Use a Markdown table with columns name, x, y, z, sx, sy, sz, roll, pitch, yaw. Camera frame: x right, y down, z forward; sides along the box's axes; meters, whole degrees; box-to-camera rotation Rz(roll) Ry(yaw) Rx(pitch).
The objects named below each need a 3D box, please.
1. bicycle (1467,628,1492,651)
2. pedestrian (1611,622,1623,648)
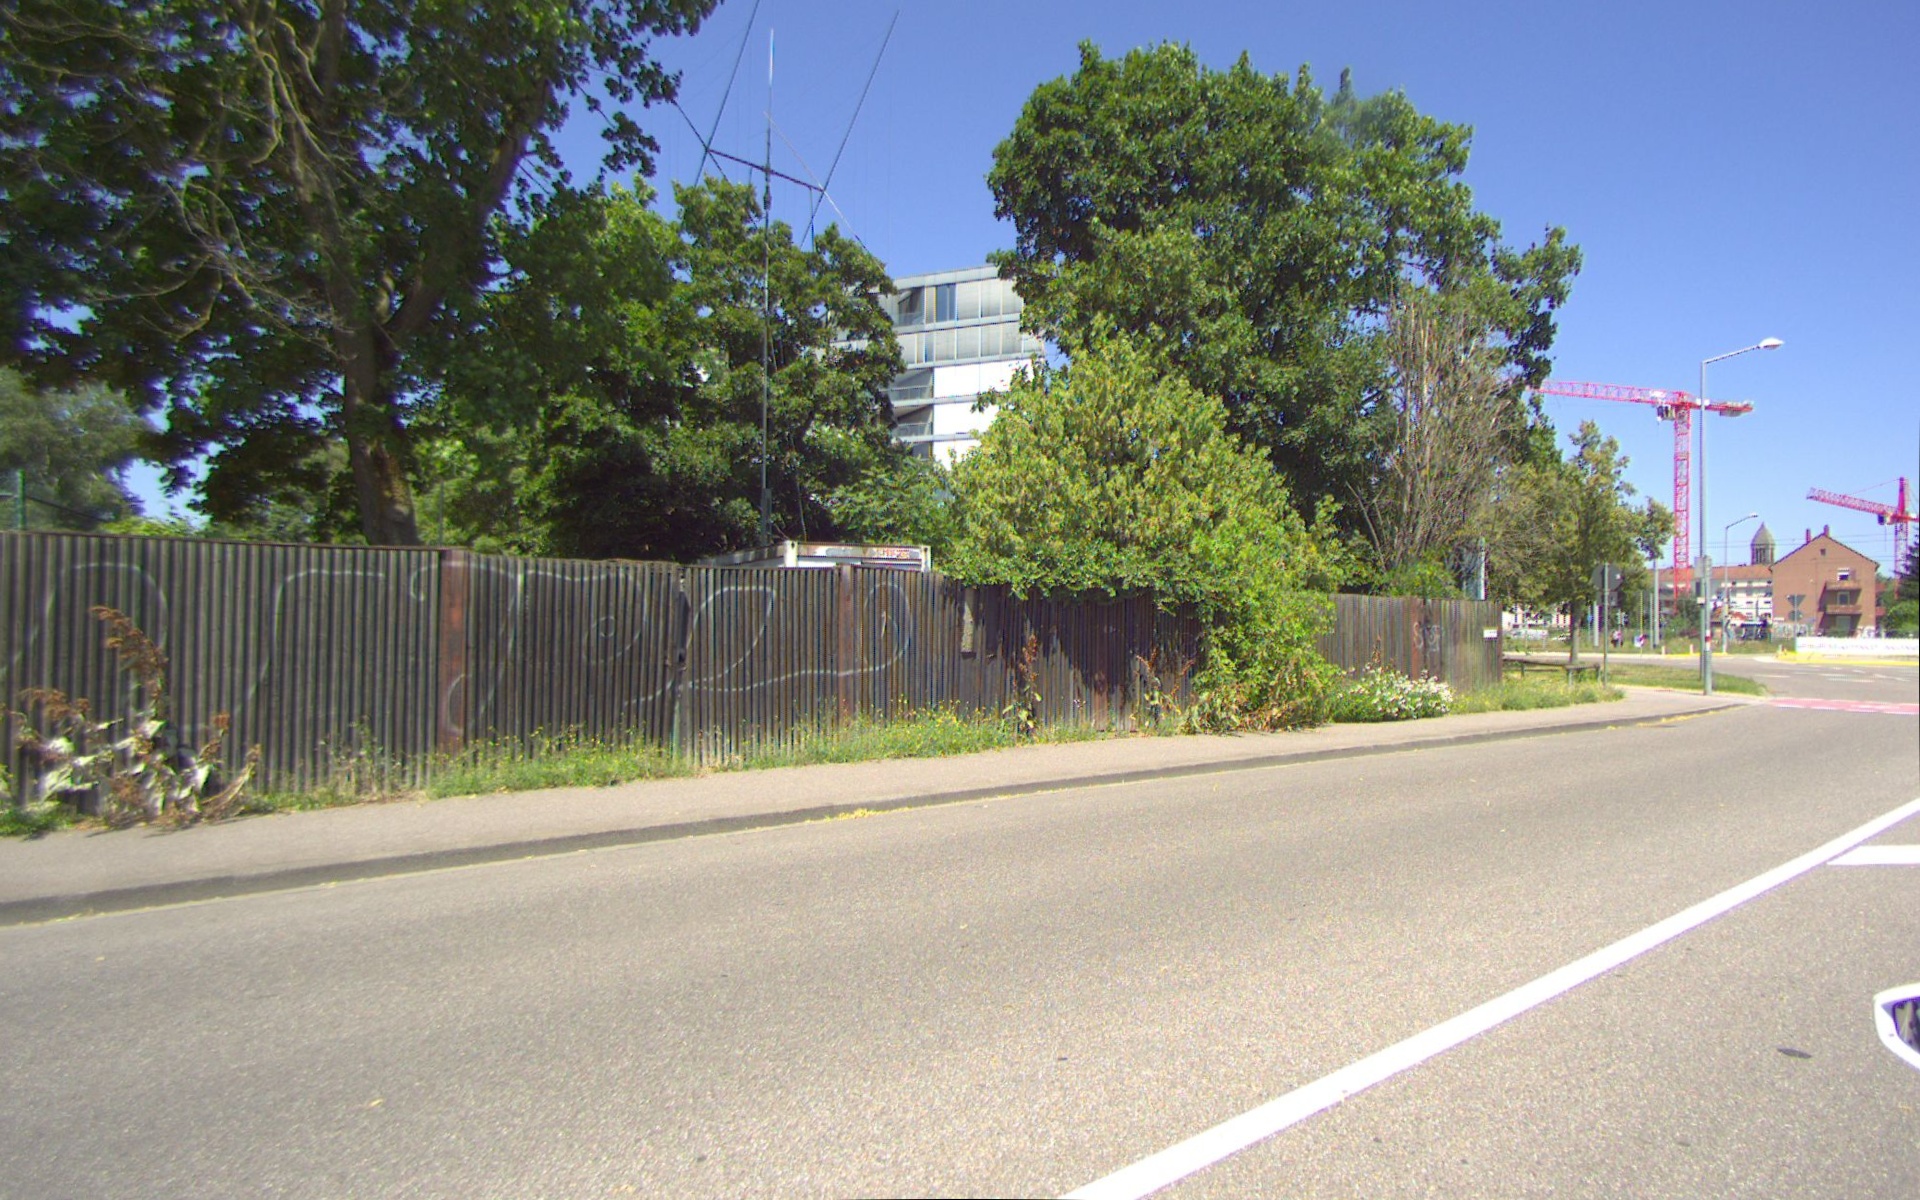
| name | x | y | z | sx | sy | sz | roll | pitch | yaw |
| --- | --- | --- | --- | --- | --- | --- | --- | --- | --- |
| bicycle | 38.220 | 2.913 | 73.839 | 2.061 | 1.707 | 0.555 | 2 | 0 | -29 |
| pedestrian | 54.123 | 2.878 | 82.770 | 0.588 | 2.040 | 0.598 | 2 | 0 | -30 |
